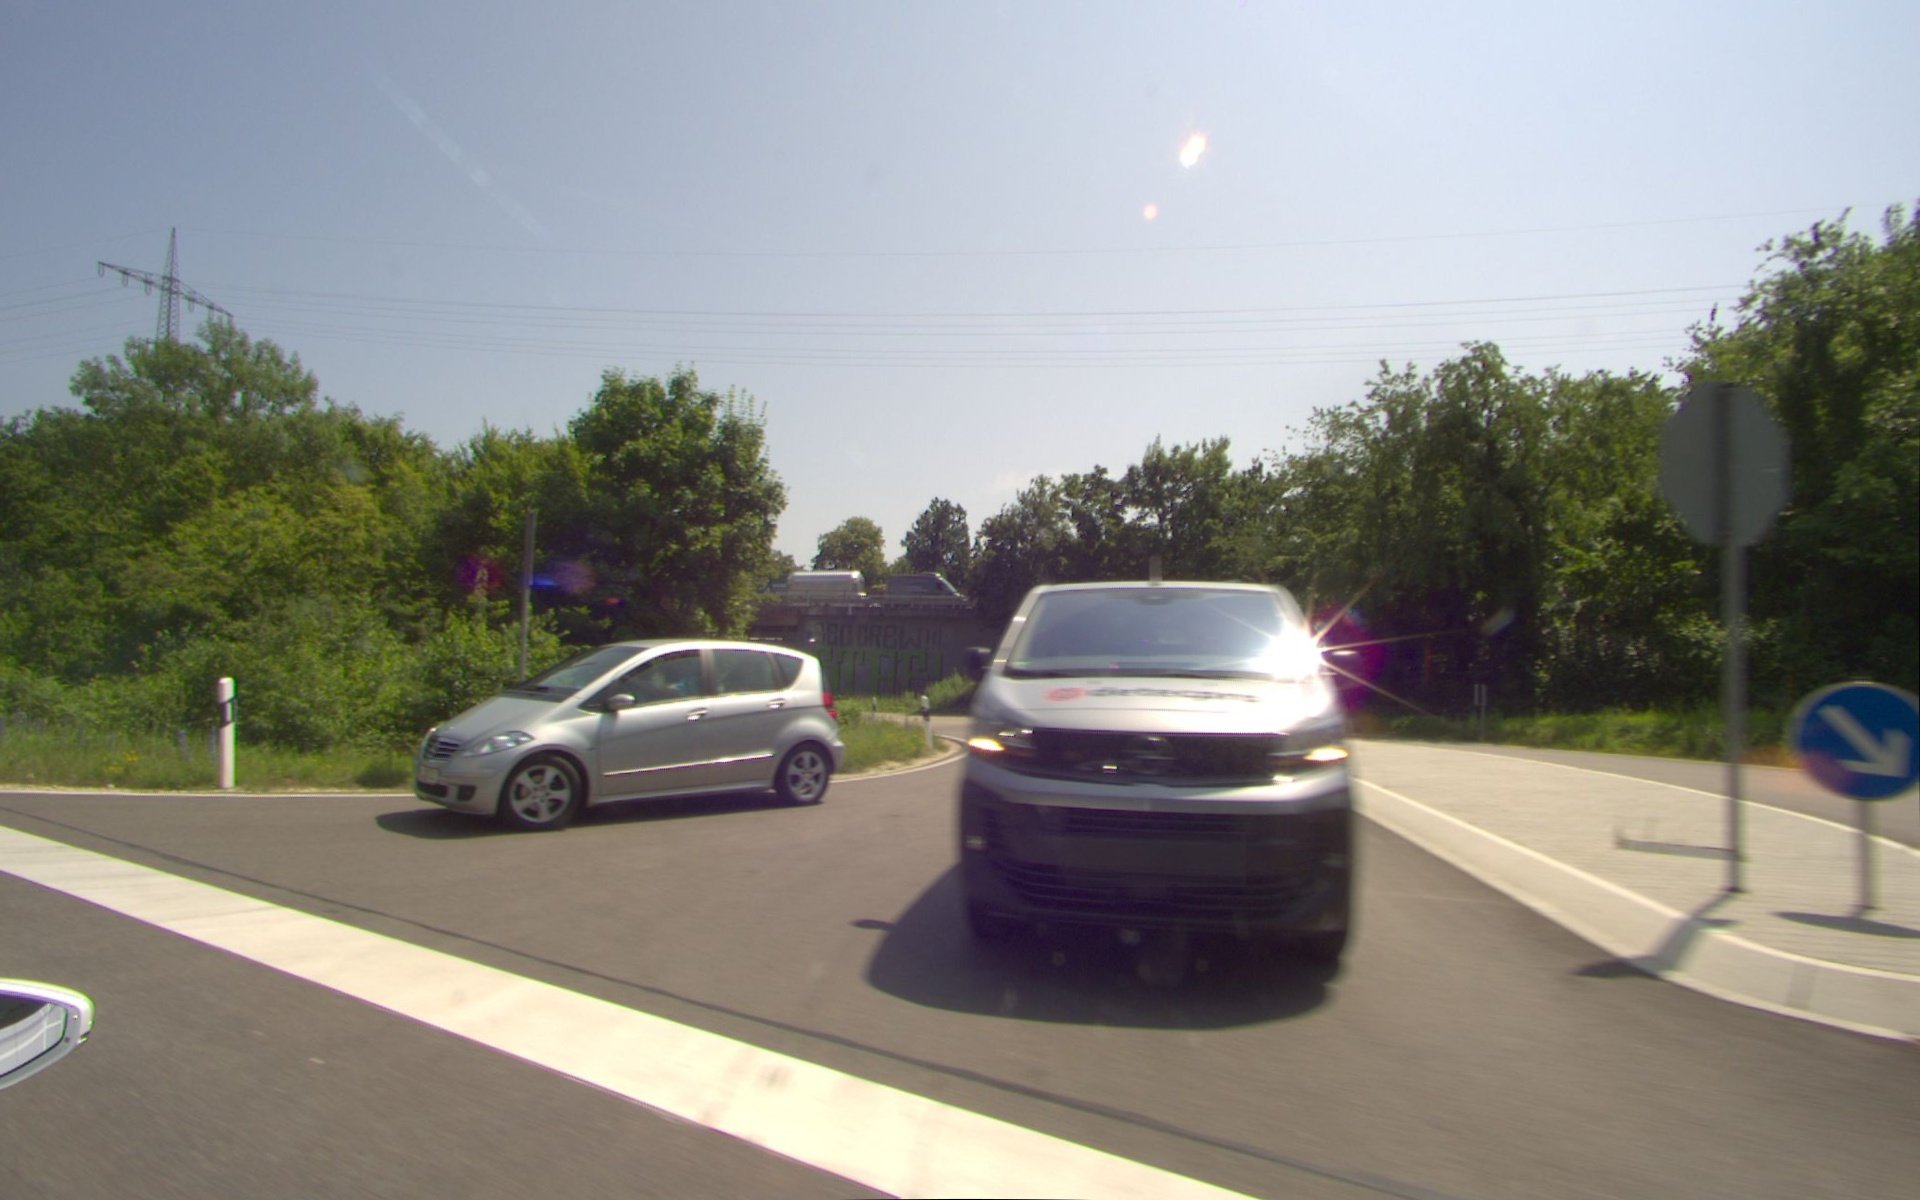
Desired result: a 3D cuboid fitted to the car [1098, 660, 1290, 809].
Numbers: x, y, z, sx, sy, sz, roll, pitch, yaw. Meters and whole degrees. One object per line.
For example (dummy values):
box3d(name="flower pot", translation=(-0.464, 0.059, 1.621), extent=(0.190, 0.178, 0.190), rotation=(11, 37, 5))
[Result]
box3d(name="car", translation=(2.728, 1.565, 12.626), extent=(1.832, 1.491, 4.569), rotation=(0, -4, 7))

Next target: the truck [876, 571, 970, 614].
box3d(name="truck", translation=(-2.507, -0.484, 68.988), extent=(6.155, 2.855, 2.246), rotation=(0, -1, 6))

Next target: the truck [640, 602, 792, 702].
box3d(name="truck", translation=(-15.238, 3.007, 60.926), extent=(3.333, 5.383, 15.232), rotation=(0, -2, -37))

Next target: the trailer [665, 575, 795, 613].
box3d(name="trailer", translation=(-21.341, -0.498, 93.102), extent=(11.546, 3.297, 2.913), rotation=(-1, -1, 9))

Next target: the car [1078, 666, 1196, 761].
box3d(name="car", translation=(3.273, 2.116, 19.202), extent=(1.776, 1.617, 4.102), rotation=(0, -5, 4))

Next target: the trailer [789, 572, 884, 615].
box3d(name="trailer", translation=(-8.564, -0.431, 69.677), extent=(6.155, 2.855, 2.246), rotation=(0, -1, 6))

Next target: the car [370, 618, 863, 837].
box3d(name="car", translation=(-3.017, 1.128, 9.405), extent=(1.827, 1.598, 3.962), rotation=(-3, -7, 43))

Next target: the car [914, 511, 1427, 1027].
box3d(name="car", translation=(1.348, 0.819, 6.536), extent=(1.976, 1.929, 5.232), rotation=(-1, -4, 13))
